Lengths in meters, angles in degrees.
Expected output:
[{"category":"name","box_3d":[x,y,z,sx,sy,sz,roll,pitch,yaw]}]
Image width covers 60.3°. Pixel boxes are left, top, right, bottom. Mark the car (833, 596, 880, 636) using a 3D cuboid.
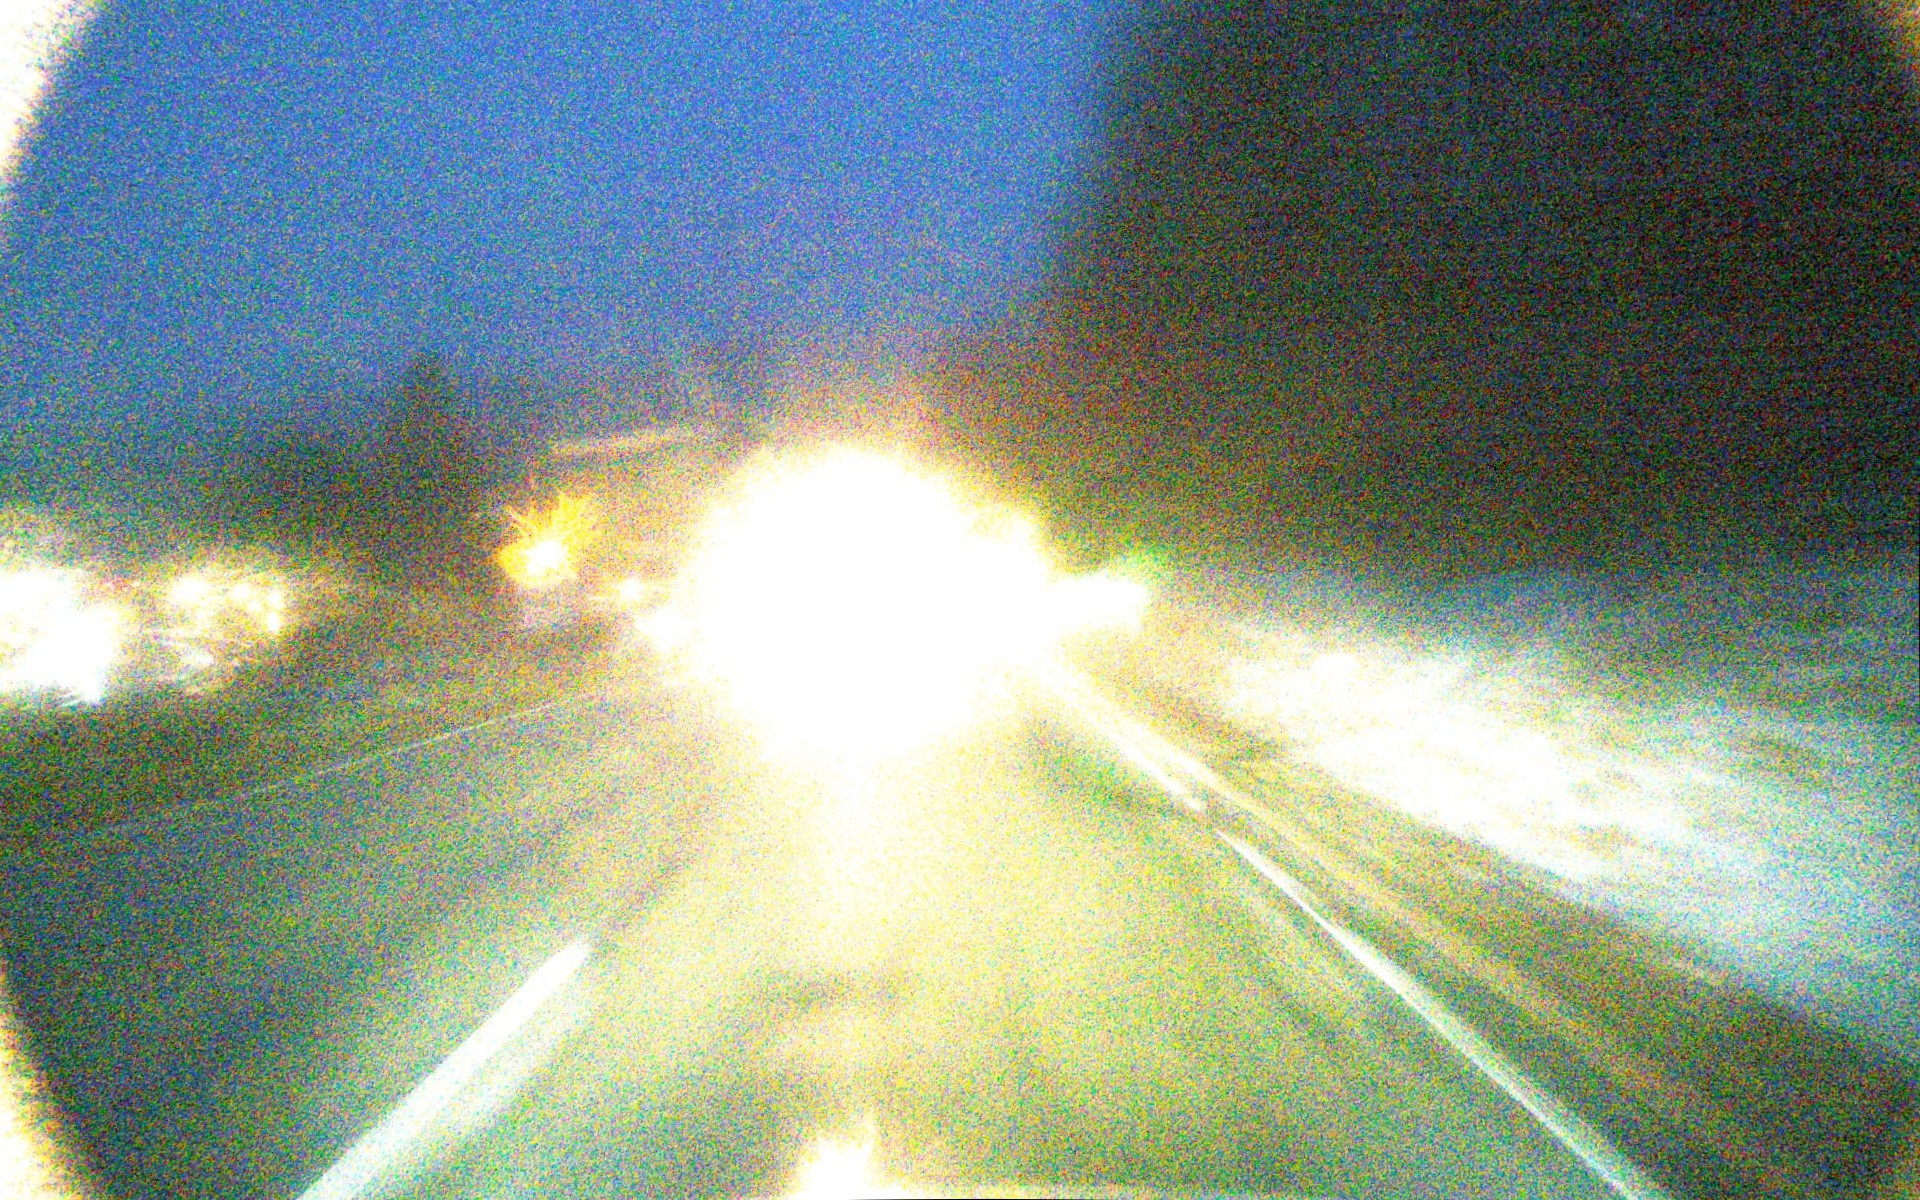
[{"category":"car","box_3d":[-6.630,1.055,106.717,2.697,2.308,6.258,-4,-1,-2]}]
